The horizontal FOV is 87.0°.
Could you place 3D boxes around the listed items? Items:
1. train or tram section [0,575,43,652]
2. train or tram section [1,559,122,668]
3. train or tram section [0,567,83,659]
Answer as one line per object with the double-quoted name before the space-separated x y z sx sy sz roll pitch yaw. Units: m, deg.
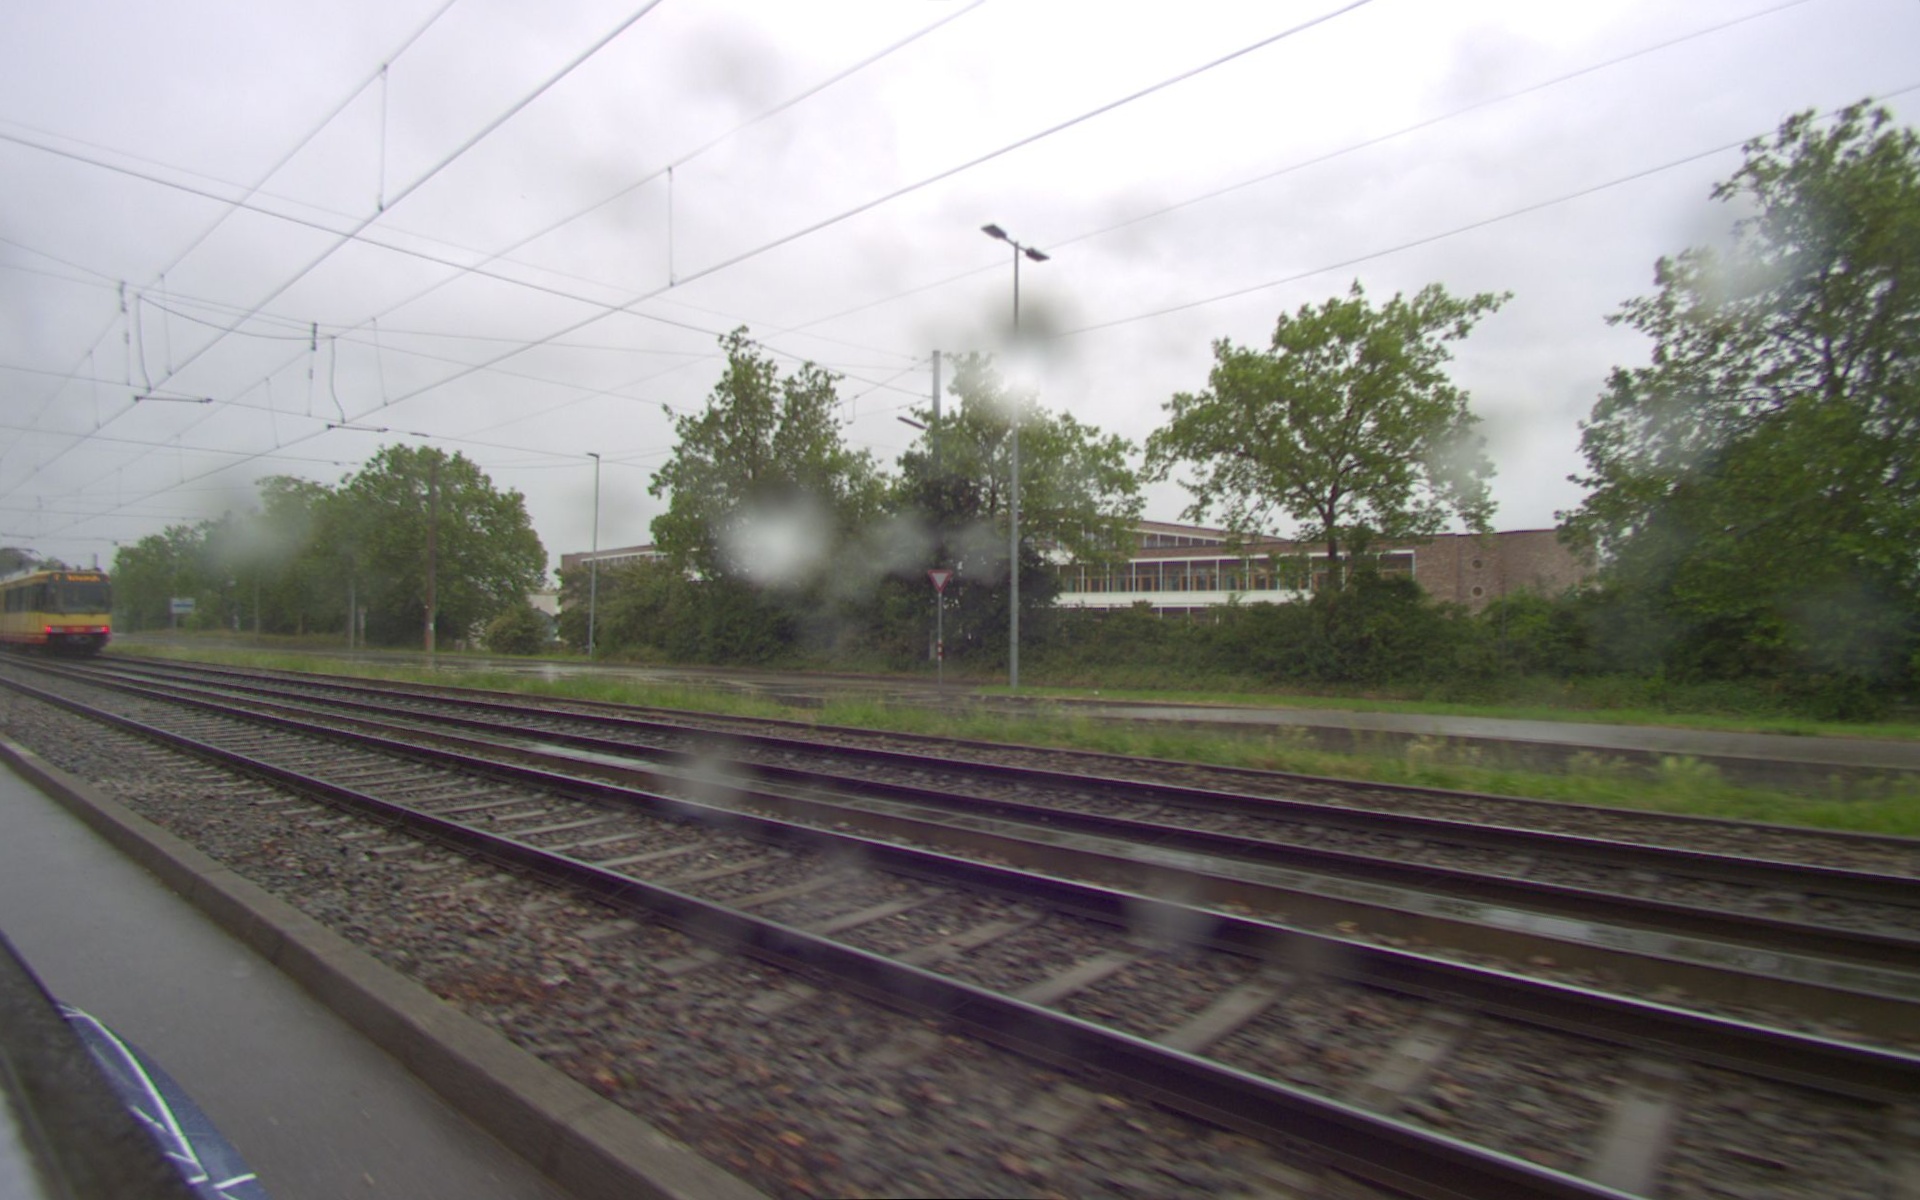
"train or tram section" -57.014 0.871 59.901 13.015 4.181 2.777 -1 -1 42
"train or tram section" -38.670 0.548 43.406 10.267 4.181 2.781 -1 -1 42
"train or tram section" -47.334 0.682 51.210 13.014 4.181 2.777 -1 -1 42
